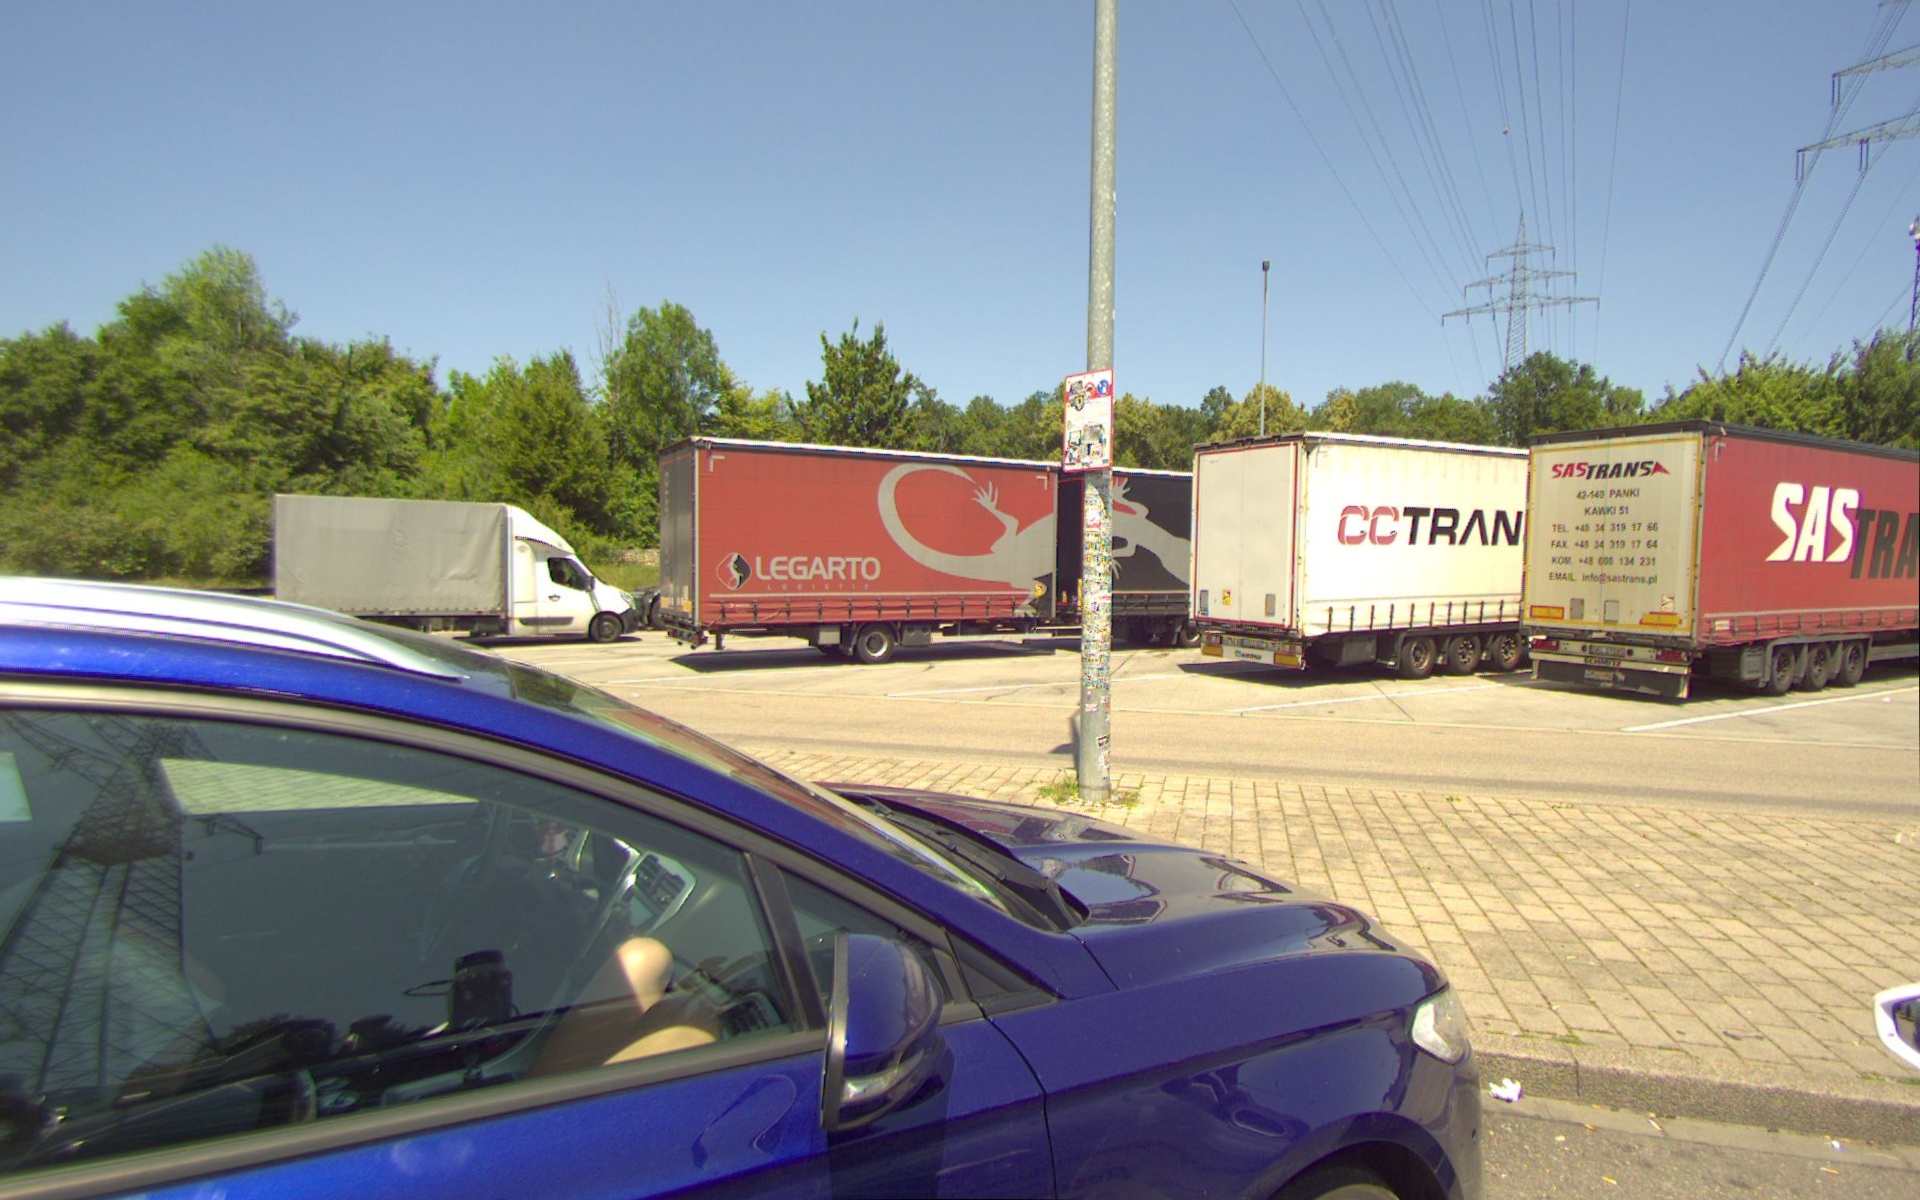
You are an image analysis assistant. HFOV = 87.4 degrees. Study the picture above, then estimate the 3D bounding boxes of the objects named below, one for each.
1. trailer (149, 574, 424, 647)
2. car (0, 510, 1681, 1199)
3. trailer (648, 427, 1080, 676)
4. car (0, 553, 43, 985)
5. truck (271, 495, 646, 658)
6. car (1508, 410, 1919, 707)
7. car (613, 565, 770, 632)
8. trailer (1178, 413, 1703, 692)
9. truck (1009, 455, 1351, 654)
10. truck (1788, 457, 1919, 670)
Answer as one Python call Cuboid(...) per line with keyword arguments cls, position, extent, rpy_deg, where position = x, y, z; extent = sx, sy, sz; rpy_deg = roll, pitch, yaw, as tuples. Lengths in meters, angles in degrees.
Cuboid(cls="trailer", position=(-15.954, 0.245, 24.178), extent=(5.332, 1.617, 1.585), rpy_deg=(0, 0, -30))
Cuboid(cls="car", position=(-0.987, 0.668, 1.465), extent=(4.380, 1.464, 1.771), rpy_deg=(0, 0, -32))
Cuboid(cls="trailer", position=(-1.747, -0.928, 20.505), extent=(8.389, 4.248, 2.800), rpy_deg=(-1, 2, -30))
Cuboid(cls="car", position=(-4.613, 0.554, 2.115), extent=(3.700, 1.432, 1.595), rpy_deg=(0, 0, -32))
Cuboid(cls="truck", position=(-11.119, -0.583, 22.873), extent=(7.219, 3.277, 2.308), rpy_deg=(-2, 3, -29))
Cuboid(cls="car", position=(15.213, -0.693, 18.456), extent=(12.777, 4.169, 2.683), rpy_deg=(-1, 3, -30))
Cuboid(cls="car", position=(-7.610, -0.044, 28.515), extent=(3.953, 1.773, 1.902), rpy_deg=(0, 0, -30))
Cuboid(cls="trailer", position=(10.107, -0.882, 20.069), extent=(12.786, 4.325, 2.800), rpy_deg=(-1, 2, -31))
Cuboid(cls="truck", position=(5.598, -1.076, 24.829), extent=(8.683, 4.248, 2.800), rpy_deg=(-1, 2, -30))
Cuboid(cls="truck", position=(21.138, -0.774, 21.868), extent=(6.163, 4.169, 2.683), rpy_deg=(-1, 3, -30))
